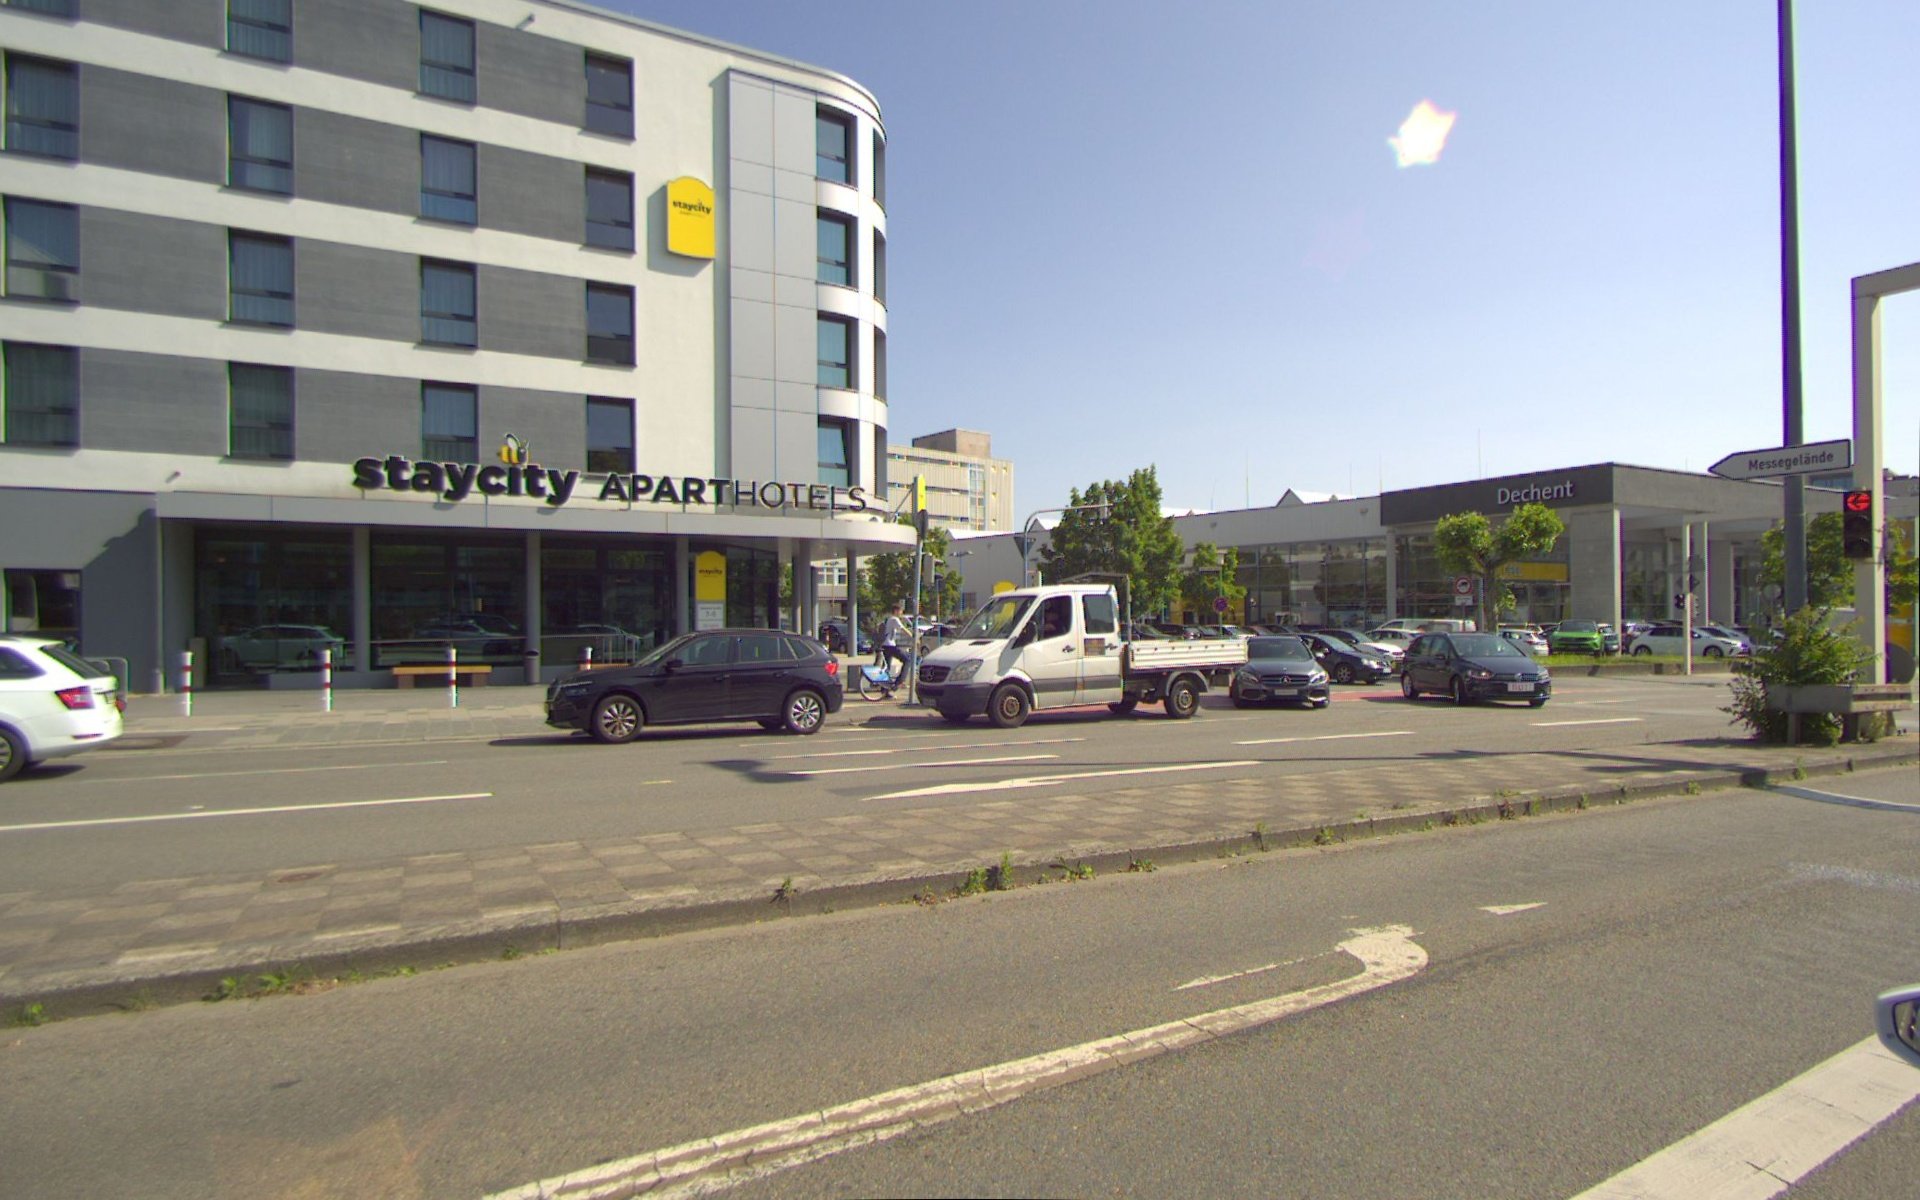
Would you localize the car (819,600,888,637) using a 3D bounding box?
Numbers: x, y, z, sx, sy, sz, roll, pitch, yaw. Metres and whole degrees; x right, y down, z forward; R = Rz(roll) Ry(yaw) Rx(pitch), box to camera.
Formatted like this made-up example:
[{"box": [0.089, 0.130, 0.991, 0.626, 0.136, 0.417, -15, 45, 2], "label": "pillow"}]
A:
[{"box": [-6.762, 1.152, 63.474, 1.985, 2.158, 4.565, 2, 0, -42], "label": "car"}]

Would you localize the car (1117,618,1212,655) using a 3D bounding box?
[{"box": [9.806, 1.727, 48.420, 1.980, 1.719, 4.328, 1, -2, -35], "label": "car"}]

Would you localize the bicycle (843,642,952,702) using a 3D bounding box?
[{"box": [-1.259, 1.436, 20.433, 2.139, 1.131, 0.763, 1, -2, -34], "label": "bicycle"}]

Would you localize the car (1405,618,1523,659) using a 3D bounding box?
[{"box": [22.466, 1.692, 44.927, 1.982, 1.719, 4.323, 1, -2, -38], "label": "car"}]

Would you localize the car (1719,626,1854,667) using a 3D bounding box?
[{"box": [37.433, 2.073, 45.593, 1.978, 1.719, 4.333, 2, -1, -32], "label": "car"}]

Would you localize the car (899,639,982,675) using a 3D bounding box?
[{"box": [-0.903, 2.509, 45.008, 1.762, 1.457, 3.874, 1, -2, -38], "label": "car"}]

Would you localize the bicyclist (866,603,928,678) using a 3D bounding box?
[{"box": [-1.283, 0.813, 20.411, 1.016, 1.479, 0.763, 1, -1, -34], "label": "bicyclist"}]

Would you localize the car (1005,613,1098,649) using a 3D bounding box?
[{"box": [4.560, 1.508, 50.246, 4.304, 1.719, 1.991, -1, -2, 39], "label": "car"}]

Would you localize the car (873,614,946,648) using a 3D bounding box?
[{"box": [-3.035, 1.814, 59.680, 1.971, 1.815, 4.376, 2, 0, -42], "label": "car"}]

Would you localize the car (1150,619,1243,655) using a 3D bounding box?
[{"box": [11.643, 1.807, 49.694, 1.980, 1.719, 4.328, 1, -2, -35], "label": "car"}]

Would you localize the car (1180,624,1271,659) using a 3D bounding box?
[{"box": [13.620, 2.118, 51.684, 1.980, 1.719, 4.328, 1, -2, -35], "label": "car"}]

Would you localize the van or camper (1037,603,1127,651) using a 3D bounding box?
[{"box": [6.398, 1.410, 52.998, 1.983, 2.432, 4.678, 1, -2, -38], "label": "van or camper"}]

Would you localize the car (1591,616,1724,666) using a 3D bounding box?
[{"box": [27.346, 1.570, 39.493, 1.978, 1.862, 3.849, 1, -2, -32], "label": "car"}]

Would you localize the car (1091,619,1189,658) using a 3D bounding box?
[{"box": [8.210, 1.748, 46.206, 1.980, 1.719, 4.328, 1, -2, -35], "label": "car"}]

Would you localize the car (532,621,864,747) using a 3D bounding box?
[{"box": [-3.810, 1.180, 14.739, 4.360, 1.598, 1.985, 1, -5, -30], "label": "car"}]

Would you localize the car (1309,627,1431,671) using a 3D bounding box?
[{"box": [16.965, 1.987, 41.756, 1.980, 1.719, 4.328, 1, -2, -35], "label": "car"}]

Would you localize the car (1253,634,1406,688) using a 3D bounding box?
[{"box": [11.189, 1.798, 30.613, 1.982, 1.461, 3.957, 1, -2, -37], "label": "car"}]

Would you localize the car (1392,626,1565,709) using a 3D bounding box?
[{"box": [11.271, 1.400, 22.171, 1.854, 1.639, 4.136, 0, -1, 3], "label": "car"}]

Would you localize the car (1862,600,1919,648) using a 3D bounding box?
[{"box": [53.232, 1.347, 55.753, 1.973, 2.635, 4.345, 1, -1, -24], "label": "car"}]

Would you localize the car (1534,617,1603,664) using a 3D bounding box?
[{"box": [23.988, 1.604, 39.716, 1.870, 1.756, 3.293, 0, -3, 23], "label": "car"}]

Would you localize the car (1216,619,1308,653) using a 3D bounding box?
[{"box": [15.807, 1.874, 52.693, 1.982, 1.719, 4.324, 1, -2, -37], "label": "car"}]

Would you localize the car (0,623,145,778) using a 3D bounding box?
[{"box": [-10.905, 0.996, 9.839, 4.370, 1.505, 1.980, 2, -5, -36], "label": "car"}]

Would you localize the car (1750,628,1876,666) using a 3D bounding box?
[{"box": [41.624, 2.270, 49.091, 1.978, 1.719, 4.333, 1, -2, -32], "label": "car"}]

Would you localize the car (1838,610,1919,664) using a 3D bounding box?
[{"box": [49.082, 1.932, 52.391, 2.096, 2.720, 4.490, 1, -1, -21], "label": "car"}]

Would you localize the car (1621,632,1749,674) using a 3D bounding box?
[{"box": [30.436, 2.201, 42.258, 1.981, 1.620, 3.959, 1, -2, -36], "label": "car"}]

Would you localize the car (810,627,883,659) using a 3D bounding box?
[{"box": [-5.795, 2.149, 50.851, 1.979, 1.466, 4.331, 2, -1, -33], "label": "car"}]

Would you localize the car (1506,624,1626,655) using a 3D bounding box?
[{"box": [27.860, 1.831, 46.265, 1.982, 1.284, 4.325, 4, -4, -37], "label": "car"}]

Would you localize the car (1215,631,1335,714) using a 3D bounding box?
[{"box": [6.611, 1.460, 21.490, 1.866, 1.378, 4.002, 3, 1, 10], "label": "car"}]

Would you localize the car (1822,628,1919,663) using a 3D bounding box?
[{"box": [47.012, 2.287, 51.124, 1.973, 1.719, 4.345, 1, -1, -24], "label": "car"}]

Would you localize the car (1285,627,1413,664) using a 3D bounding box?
[{"box": [15.072, 1.741, 39.122, 1.980, 1.317, 4.328, 1, -2, -35], "label": "car"}]

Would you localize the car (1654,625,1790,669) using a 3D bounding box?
[{"box": [32.842, 1.970, 43.410, 1.978, 1.789, 4.274, 1, -2, -32], "label": "car"}]

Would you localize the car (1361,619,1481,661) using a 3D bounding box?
[{"box": [19.827, 1.696, 43.314, 1.982, 1.719, 4.323, 1, -2, -38], "label": "car"}]

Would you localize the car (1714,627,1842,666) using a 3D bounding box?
[{"box": [38.767, 2.158, 47.719, 1.978, 1.719, 4.333, 1, -2, -32], "label": "car"}]

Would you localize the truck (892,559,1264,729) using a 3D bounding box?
[{"box": [2.168, 0.763, 17.784, 6.355, 2.579, 2.348, 1, -2, -28], "label": "truck"}]

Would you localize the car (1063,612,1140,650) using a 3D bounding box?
[{"box": [7.750, 1.686, 55.303, 1.983, 2.040, 3.956, 1, -2, -38], "label": "car"}]

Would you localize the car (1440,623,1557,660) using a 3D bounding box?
[{"box": [24.546, 1.865, 45.878, 1.982, 1.612, 4.325, 1, -2, -37], "label": "car"}]
